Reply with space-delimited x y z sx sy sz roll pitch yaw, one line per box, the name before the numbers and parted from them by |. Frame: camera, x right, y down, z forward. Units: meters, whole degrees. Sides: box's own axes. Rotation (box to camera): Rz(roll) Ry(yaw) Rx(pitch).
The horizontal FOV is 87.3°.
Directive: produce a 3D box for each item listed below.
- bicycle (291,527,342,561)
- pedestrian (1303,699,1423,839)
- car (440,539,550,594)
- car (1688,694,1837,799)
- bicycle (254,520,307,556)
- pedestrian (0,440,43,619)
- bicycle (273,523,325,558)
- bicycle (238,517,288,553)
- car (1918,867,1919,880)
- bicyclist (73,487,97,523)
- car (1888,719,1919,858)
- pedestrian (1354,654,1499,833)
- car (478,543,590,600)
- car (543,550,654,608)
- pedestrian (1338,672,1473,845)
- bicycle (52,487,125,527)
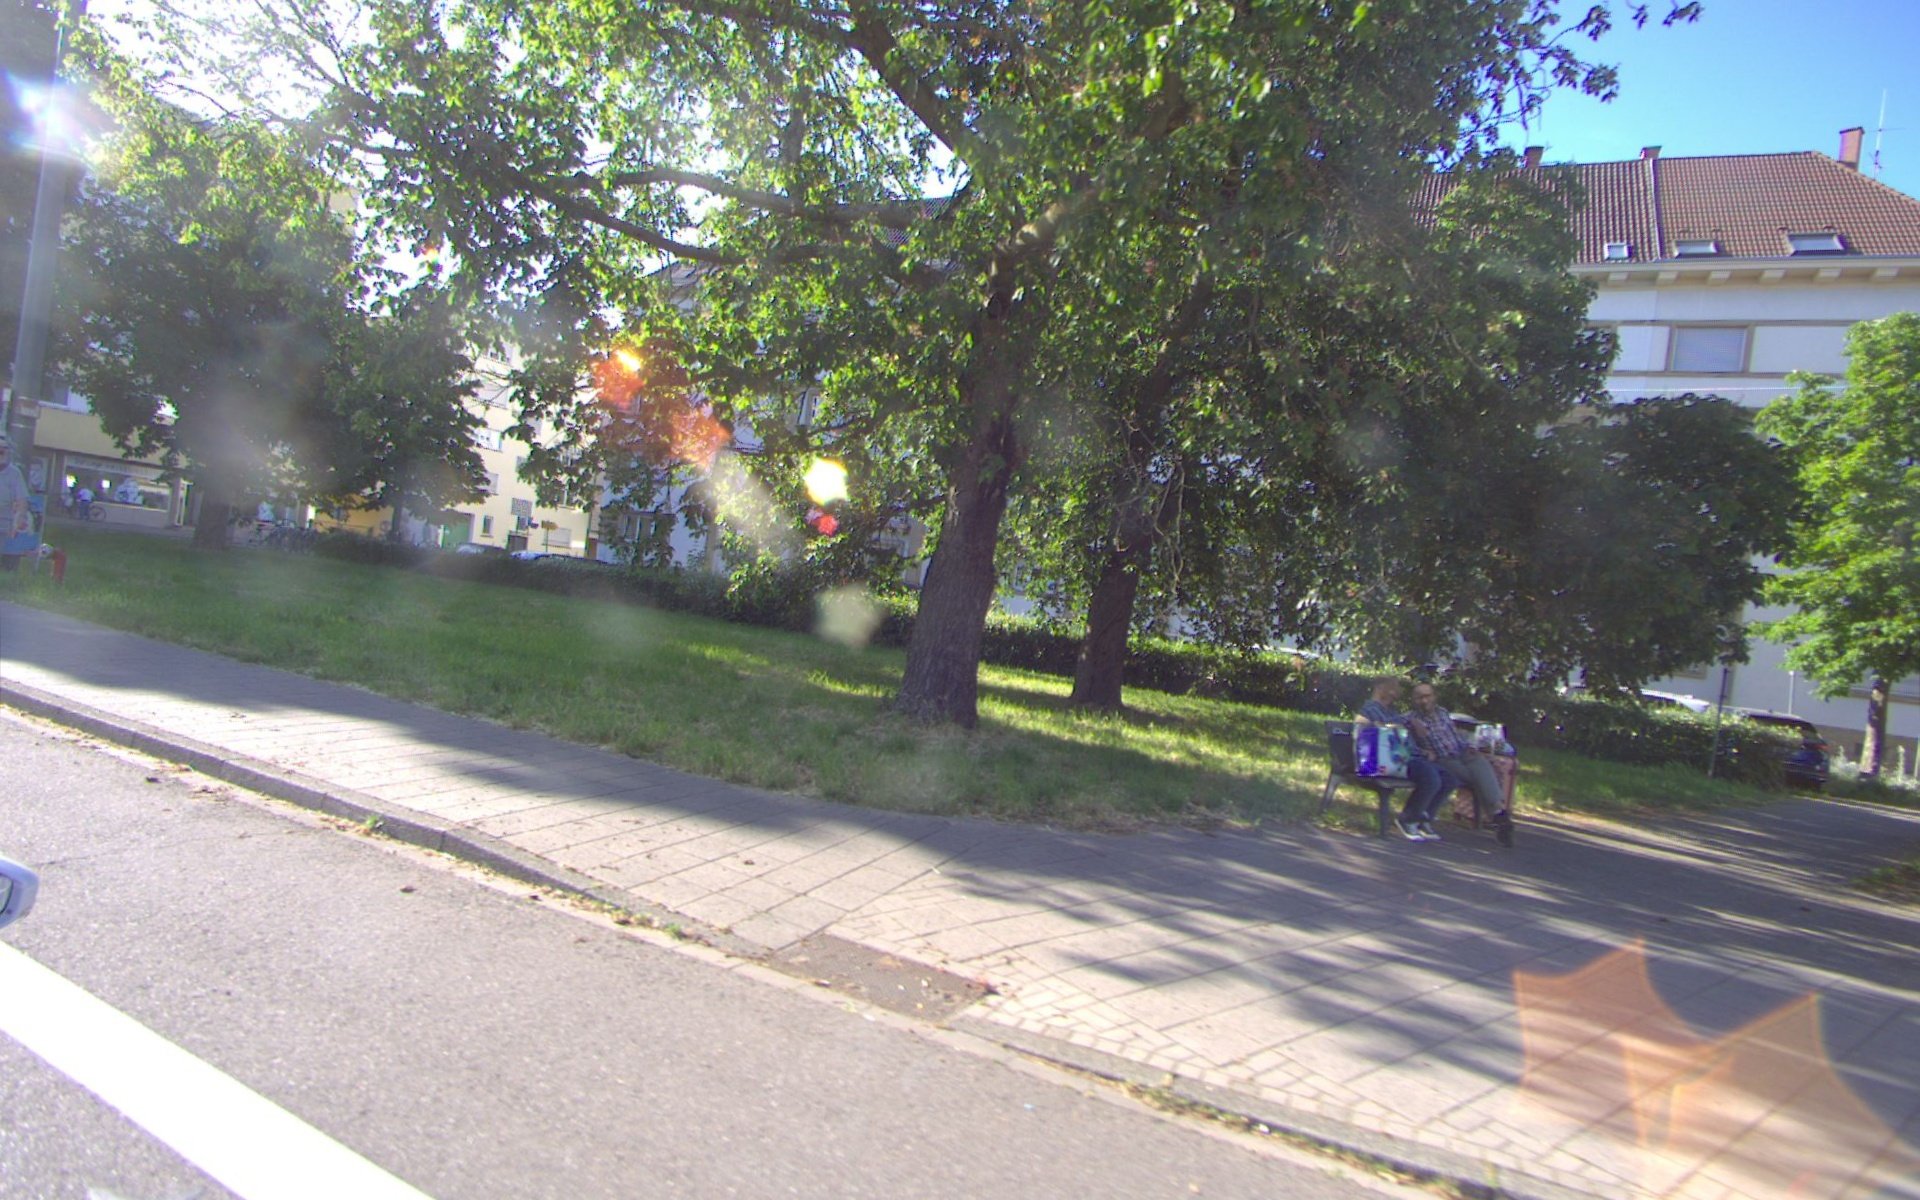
bicycle | -24.244 -2.110 37.897 1.971 1.046 0.599 8 -2 27
pedestrian | 3.124 1.304 7.819 0.401 0.945 0.616 9 1 -36
car | -16.694 -1.167 36.248 1.547 1.547 3.256 8 0 25
car | 15.663 2.796 19.816 1.548 1.389 3.349 8 3 28
bicycle | -24.772 -2.256 36.673 1.971 1.046 0.599 8 -2 27
pedestrian | -10.080 -0.760 10.371 0.682 1.814 0.703 9 4 32
bicycle | -24.489 -2.199 37.286 1.955 1.046 0.599 8 -2 27
bicycle | -25.003 -2.342 36.090 1.764 1.046 0.599 8 -2 27
car | 11.459 2.327 8.974 3.736 1.513 1.641 8 1 16
bicyclist | -41.266 -4.477 47.460 0.456 1.585 0.529 8 -1 25
car | 13.229 2.484 11.294 3.744 1.592 1.453 8 2 31
pedestrian | 4.026 1.230 8.698 0.682 1.388 0.748 9 -2 -36
car | -14.759 -0.969 34.979 1.547 1.547 3.256 8 0 25
car | -12.110 -0.669 33.896 1.547 1.547 3.256 8 0 25
pedestrian | 3.574 1.260 8.090 0.401 1.240 0.753 9 -2 -36
bicycle | -41.594 -4.420 48.052 0.597 1.415 2.479 8 -2 26
